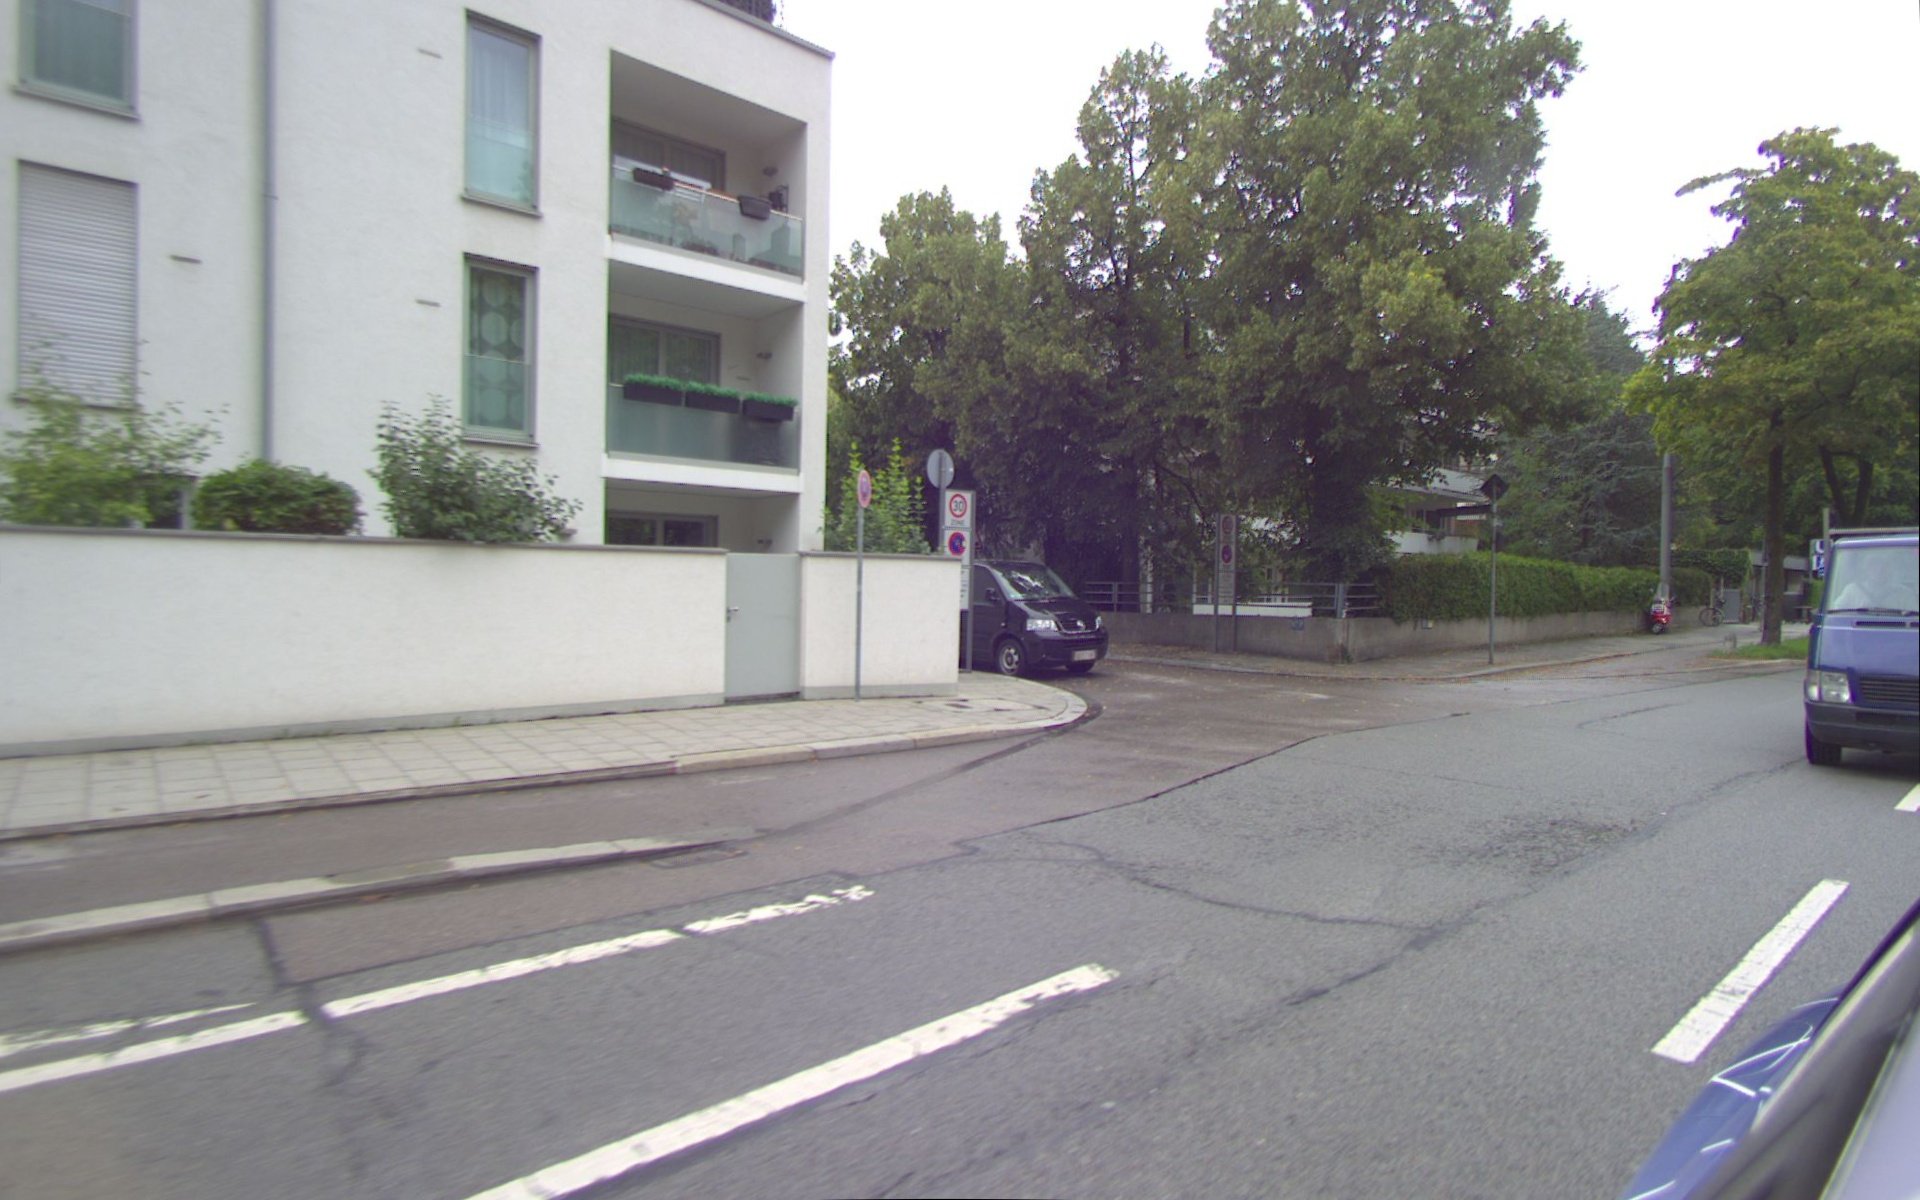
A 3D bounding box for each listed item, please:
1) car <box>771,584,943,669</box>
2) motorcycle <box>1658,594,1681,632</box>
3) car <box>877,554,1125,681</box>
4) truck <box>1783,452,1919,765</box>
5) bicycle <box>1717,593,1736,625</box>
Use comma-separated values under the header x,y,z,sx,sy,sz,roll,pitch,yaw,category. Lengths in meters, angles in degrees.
x,y,z,sx,sy,sz,roll,pitch,yaw,category
-2.286,0.481,21.583,1.834,1.482,3.999,-1,3,-37,car
22.591,0.398,32.220,0.494,1.156,1.610,2,1,39,motorcycle
0.567,0.185,17.980,1.840,1.947,4.734,-1,2,-37,car
9.763,0.073,9.707,5.060,2.520,1.997,0,1,-41,truck
28.123,0.315,37.135,0.488,1.113,1.610,2,1,39,bicycle
